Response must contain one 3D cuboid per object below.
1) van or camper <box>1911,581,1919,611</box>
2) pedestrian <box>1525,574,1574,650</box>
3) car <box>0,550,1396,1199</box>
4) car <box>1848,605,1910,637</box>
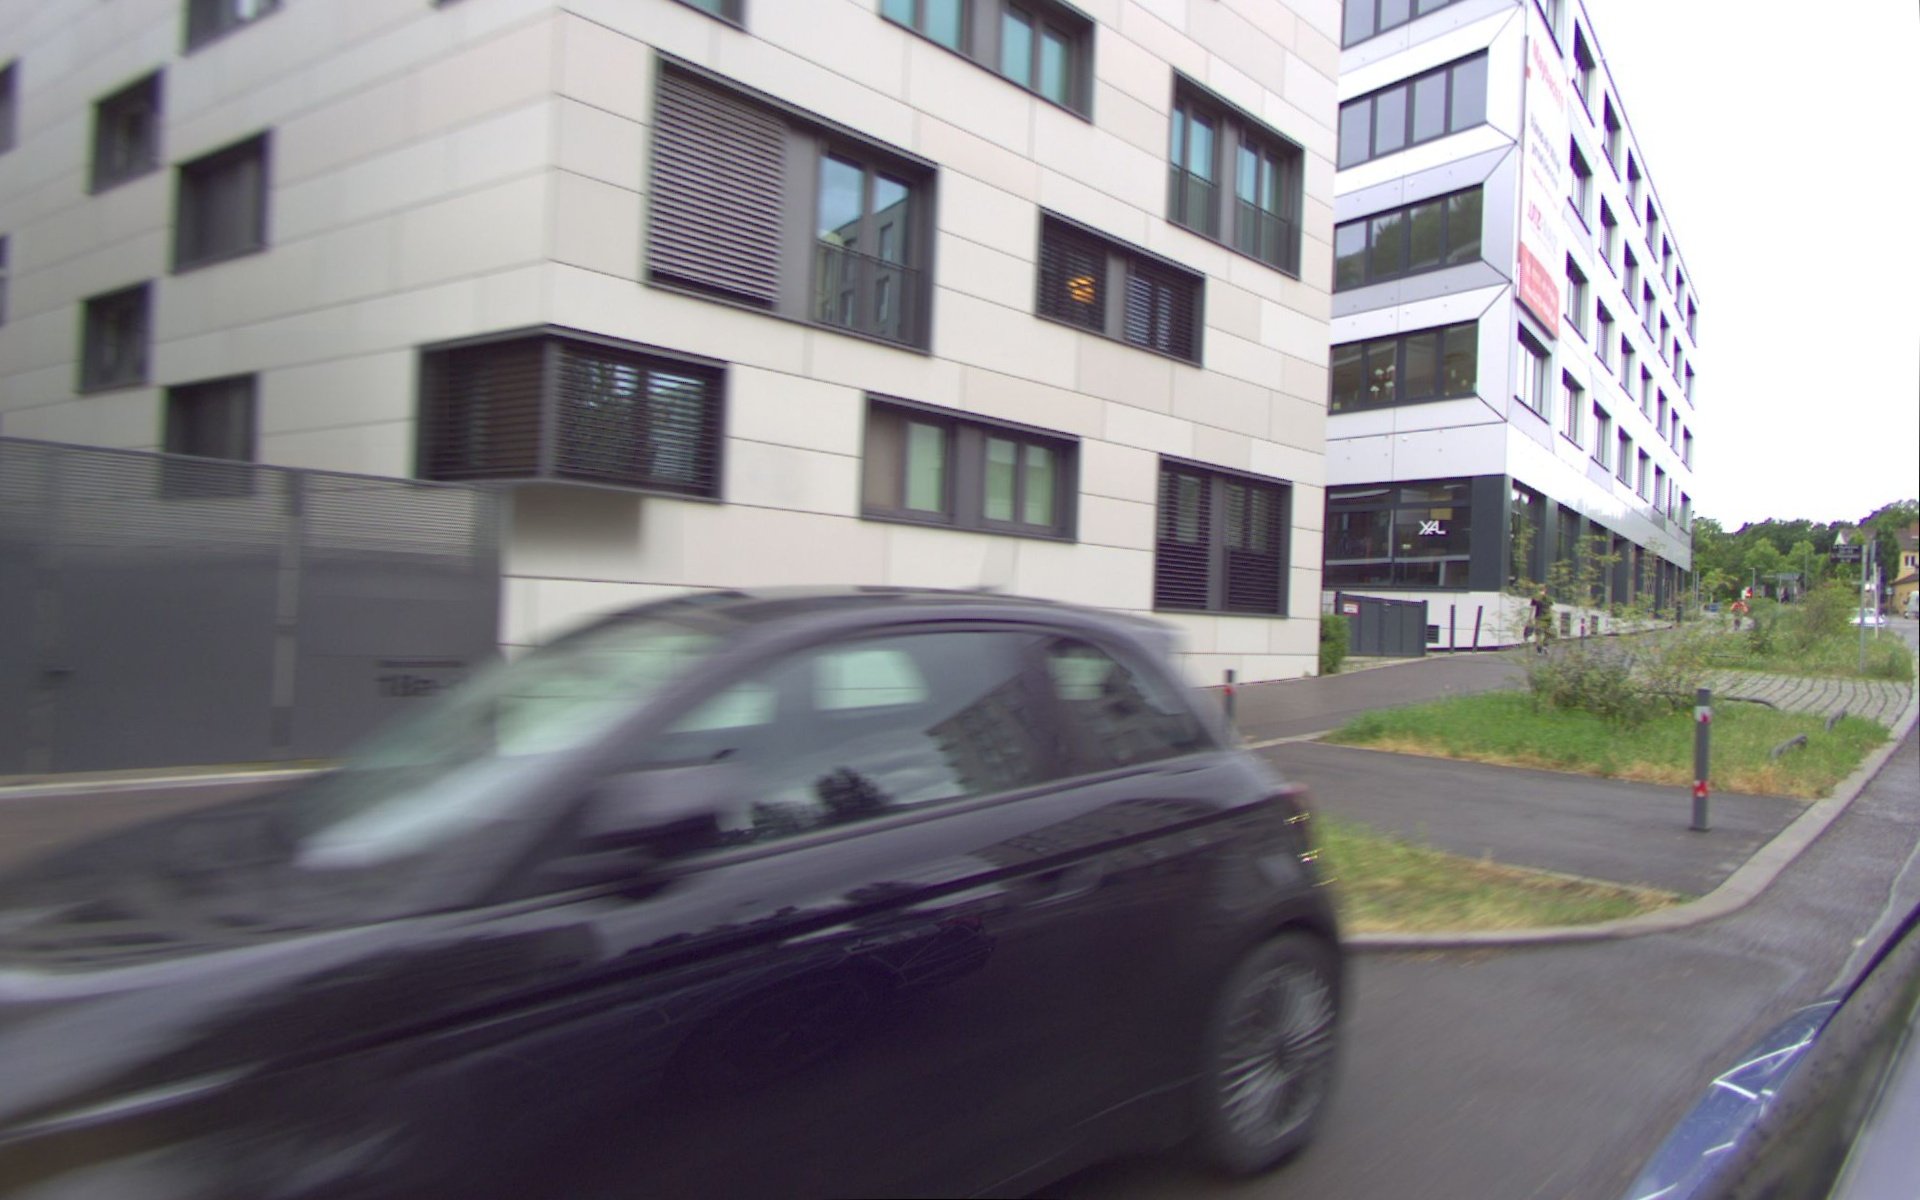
[{"bbox_3d":[88.916,-0.357,92.041,2.329,2.799,6.073,0,1,32],"label":"van or camper"},{"bbox_3d":[14.562,0.280,25.005,0.765,1.818,0.823,-1,3,-44],"label":"pedestrian"},{"bbox_3d":[-0.622,0.678,2.490,3.592,1.497,1.550,0,1,-37],"label":"car"},{"bbox_3d":[47.266,1.048,52.114,2.035,1.482,4.441,1,1,38],"label":"car"}]
